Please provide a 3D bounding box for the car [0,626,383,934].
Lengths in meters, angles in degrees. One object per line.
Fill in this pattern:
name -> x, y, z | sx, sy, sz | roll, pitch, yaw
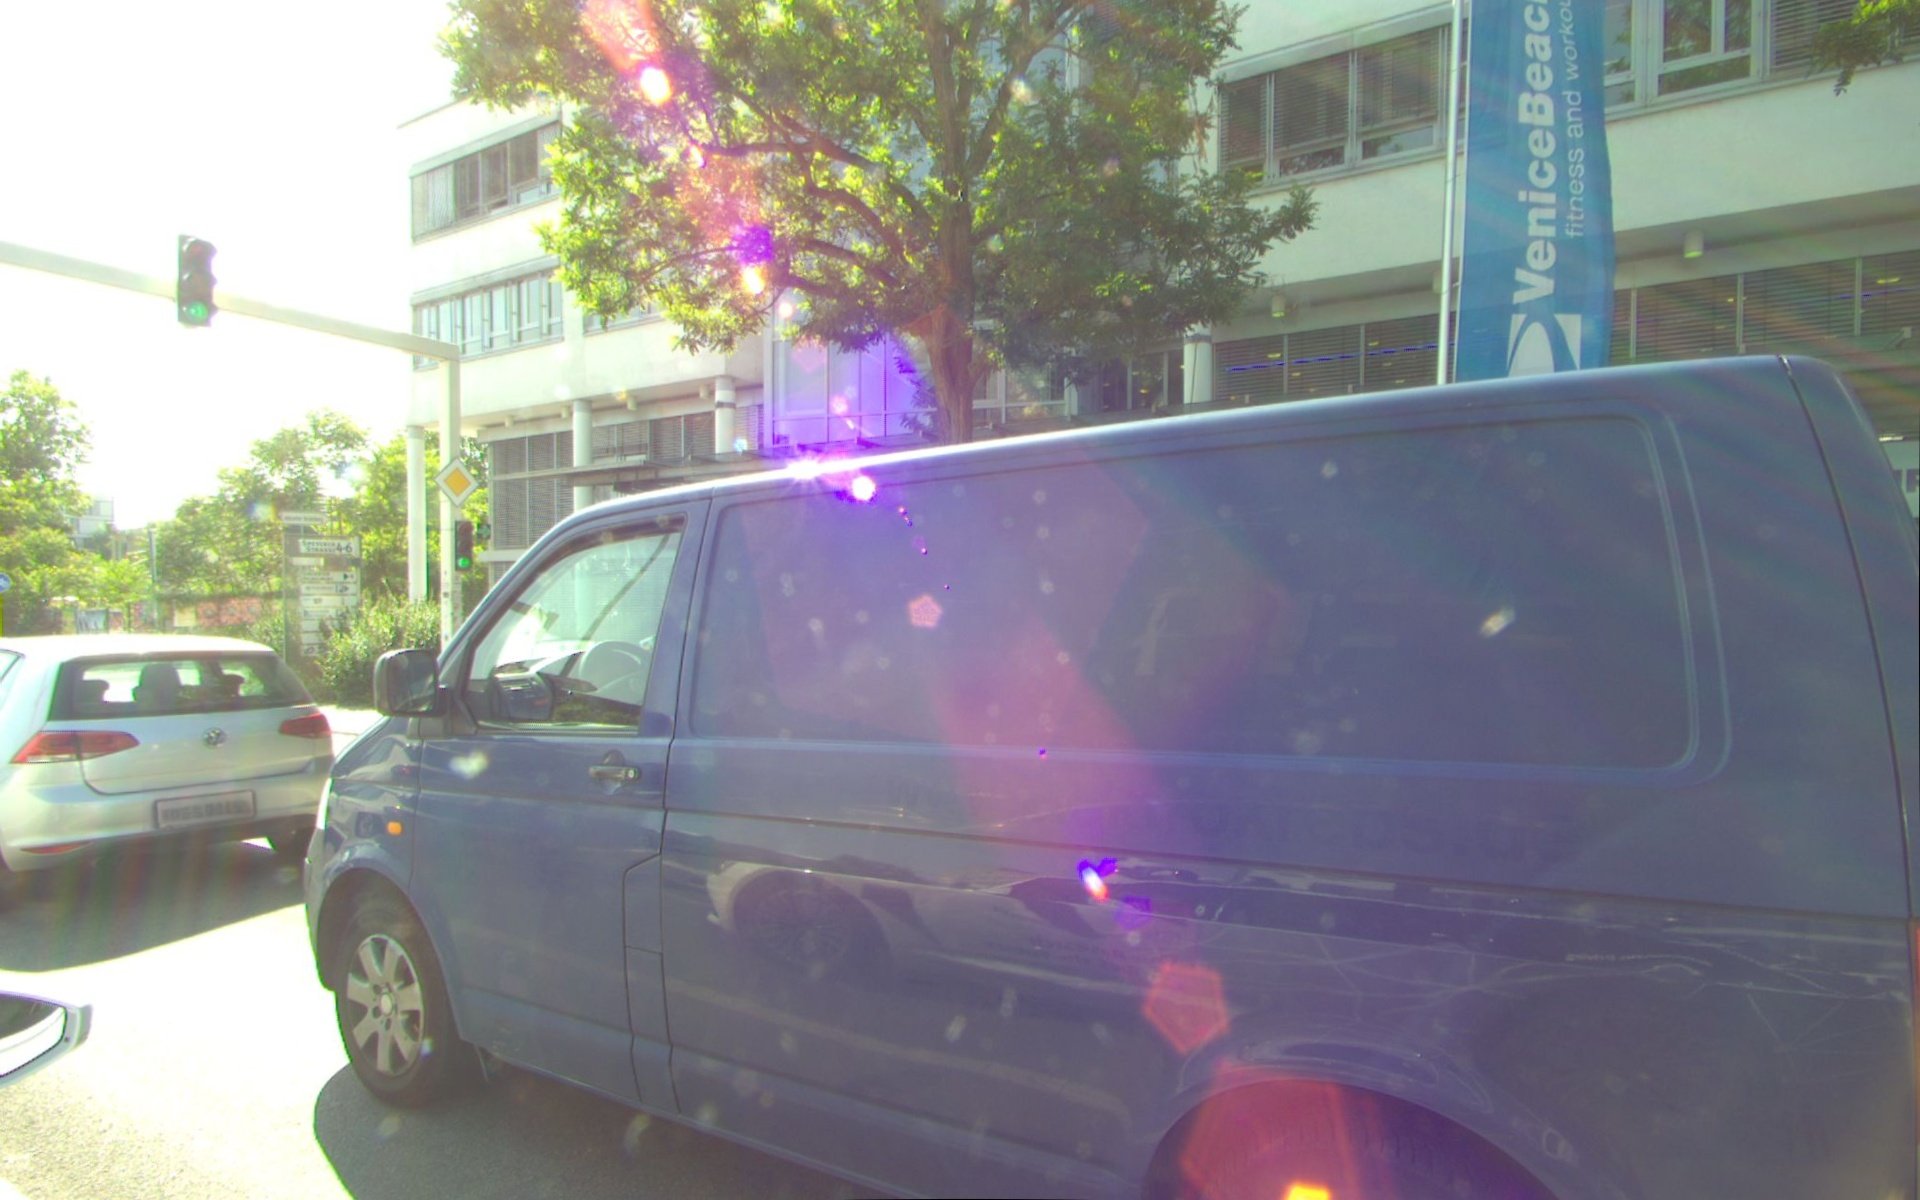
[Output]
car -> -5.823, 0.930, 6.637 | 3.942, 1.448, 1.804 | -1, -1, 32

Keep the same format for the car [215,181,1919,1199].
car -> -0.111, 0.540, 3.167 | 4.821, 1.973, 1.989 | -1, -1, 32

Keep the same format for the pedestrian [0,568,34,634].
pedestrian -> -30.159, 0.033, 31.678 | 1.023, 2.040, 1.025 | 0, 0, 32
